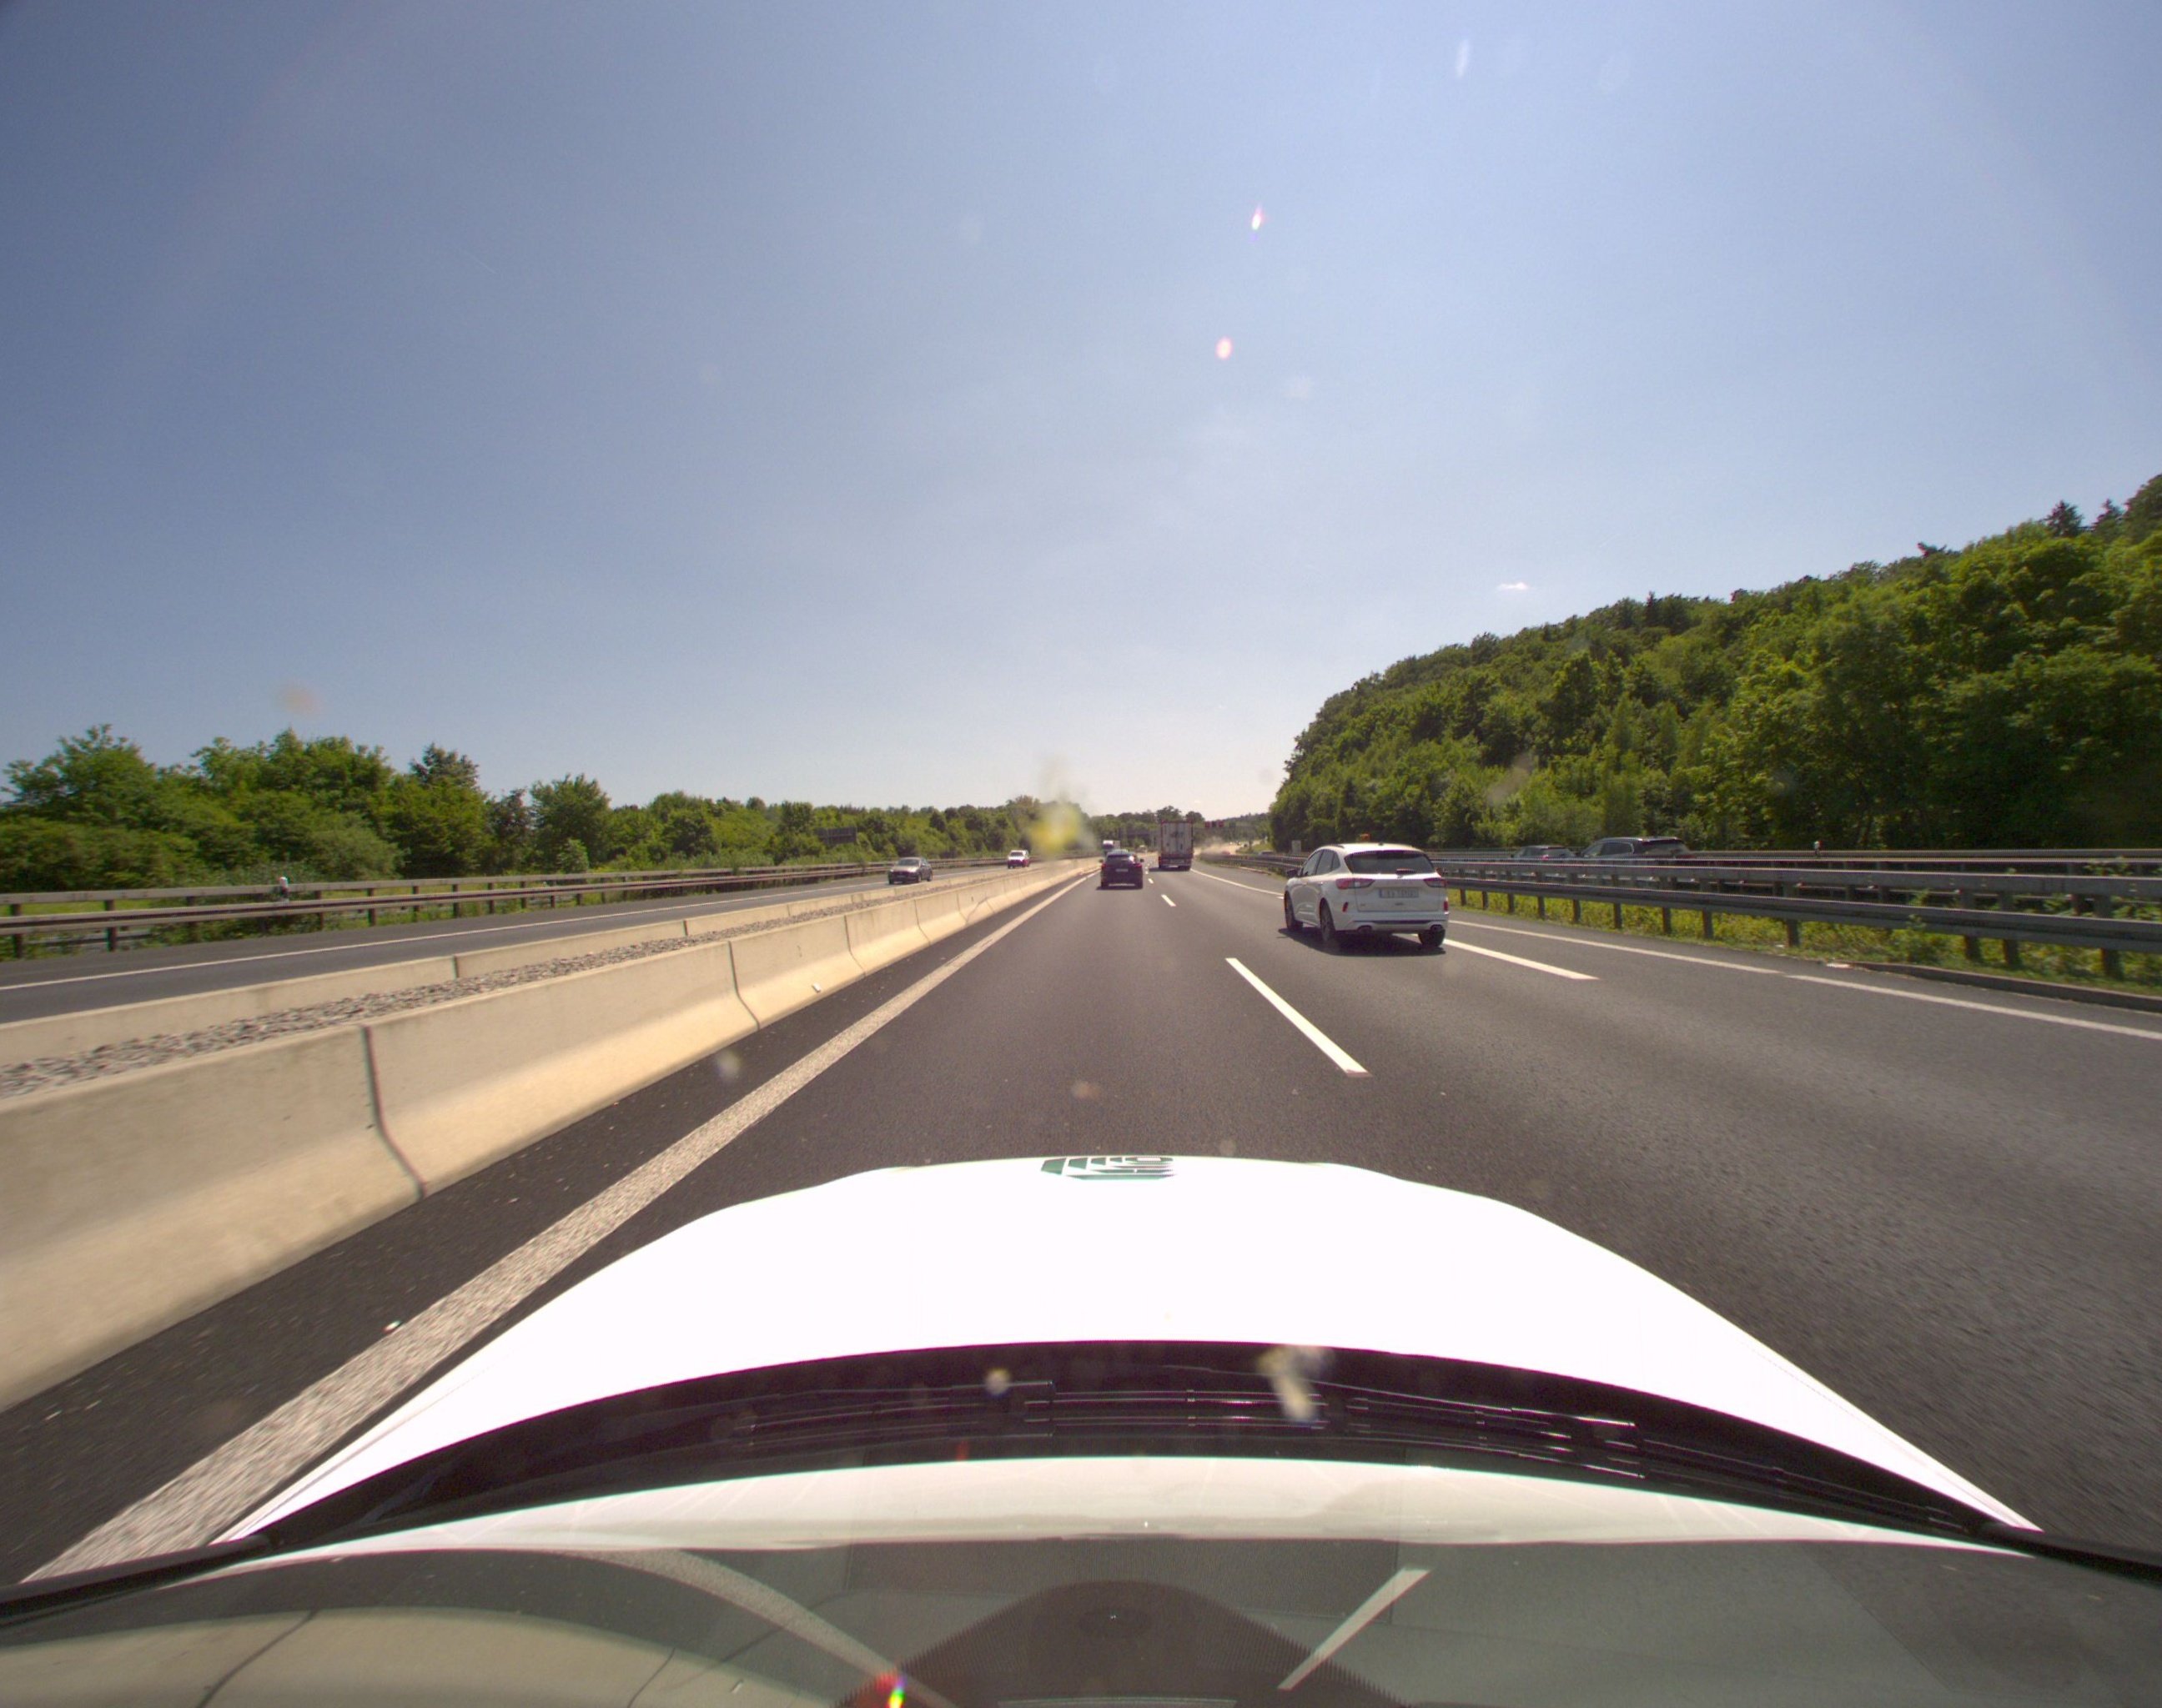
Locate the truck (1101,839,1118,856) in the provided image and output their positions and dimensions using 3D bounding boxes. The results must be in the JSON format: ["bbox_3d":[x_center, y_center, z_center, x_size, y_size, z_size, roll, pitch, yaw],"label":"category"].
[{"bbox_3d":[6.980,-1.523,197.636,2.682,3.960,10.801,-1,-1,8],"label":"truck"}]

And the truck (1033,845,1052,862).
[{"bbox_3d":[-9.335,0.030,199.229,2.682,3.960,10.801,-1,-1,8],"label":"truck"}]

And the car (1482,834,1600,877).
[{"bbox_3d":[19.719,0.068,35.247,1.988,1.662,5.223,-2,0,-2],"label":"car"}]

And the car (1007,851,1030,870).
[{"bbox_3d":[-6.933,0.759,90.451,1.986,2.014,5.382,-1,-1,2],"label":"car"}]

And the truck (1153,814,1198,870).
[{"bbox_3d":[8.082,-0.885,71.115,3.019,4.418,12.027,-1,-1,3],"label":"truck"}]

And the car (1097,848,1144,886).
[{"bbox_3d":[1.700,0.566,35.920,1.774,1.577,3.998,-1,-1,-1],"label":"car"}]

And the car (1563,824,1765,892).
[{"bbox_3d":[16.173,0.121,23.109,1.985,1.662,5.632,-1,-1,4],"label":"car"}]

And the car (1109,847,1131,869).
[{"bbox_3d":[3.912,0.389,81.064,1.985,2.013,4.004,-4,0,4],"label":"car"}]

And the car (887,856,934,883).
[{"bbox_3d":[-10.001,0.887,48.022,1.721,1.532,4.263,0,0,2],"label":"car"}]

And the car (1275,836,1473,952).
[{"bbox_3d":[4.828,0.617,14.193,1.986,1.662,4.470,-1,-1,2],"label":"car"}]
